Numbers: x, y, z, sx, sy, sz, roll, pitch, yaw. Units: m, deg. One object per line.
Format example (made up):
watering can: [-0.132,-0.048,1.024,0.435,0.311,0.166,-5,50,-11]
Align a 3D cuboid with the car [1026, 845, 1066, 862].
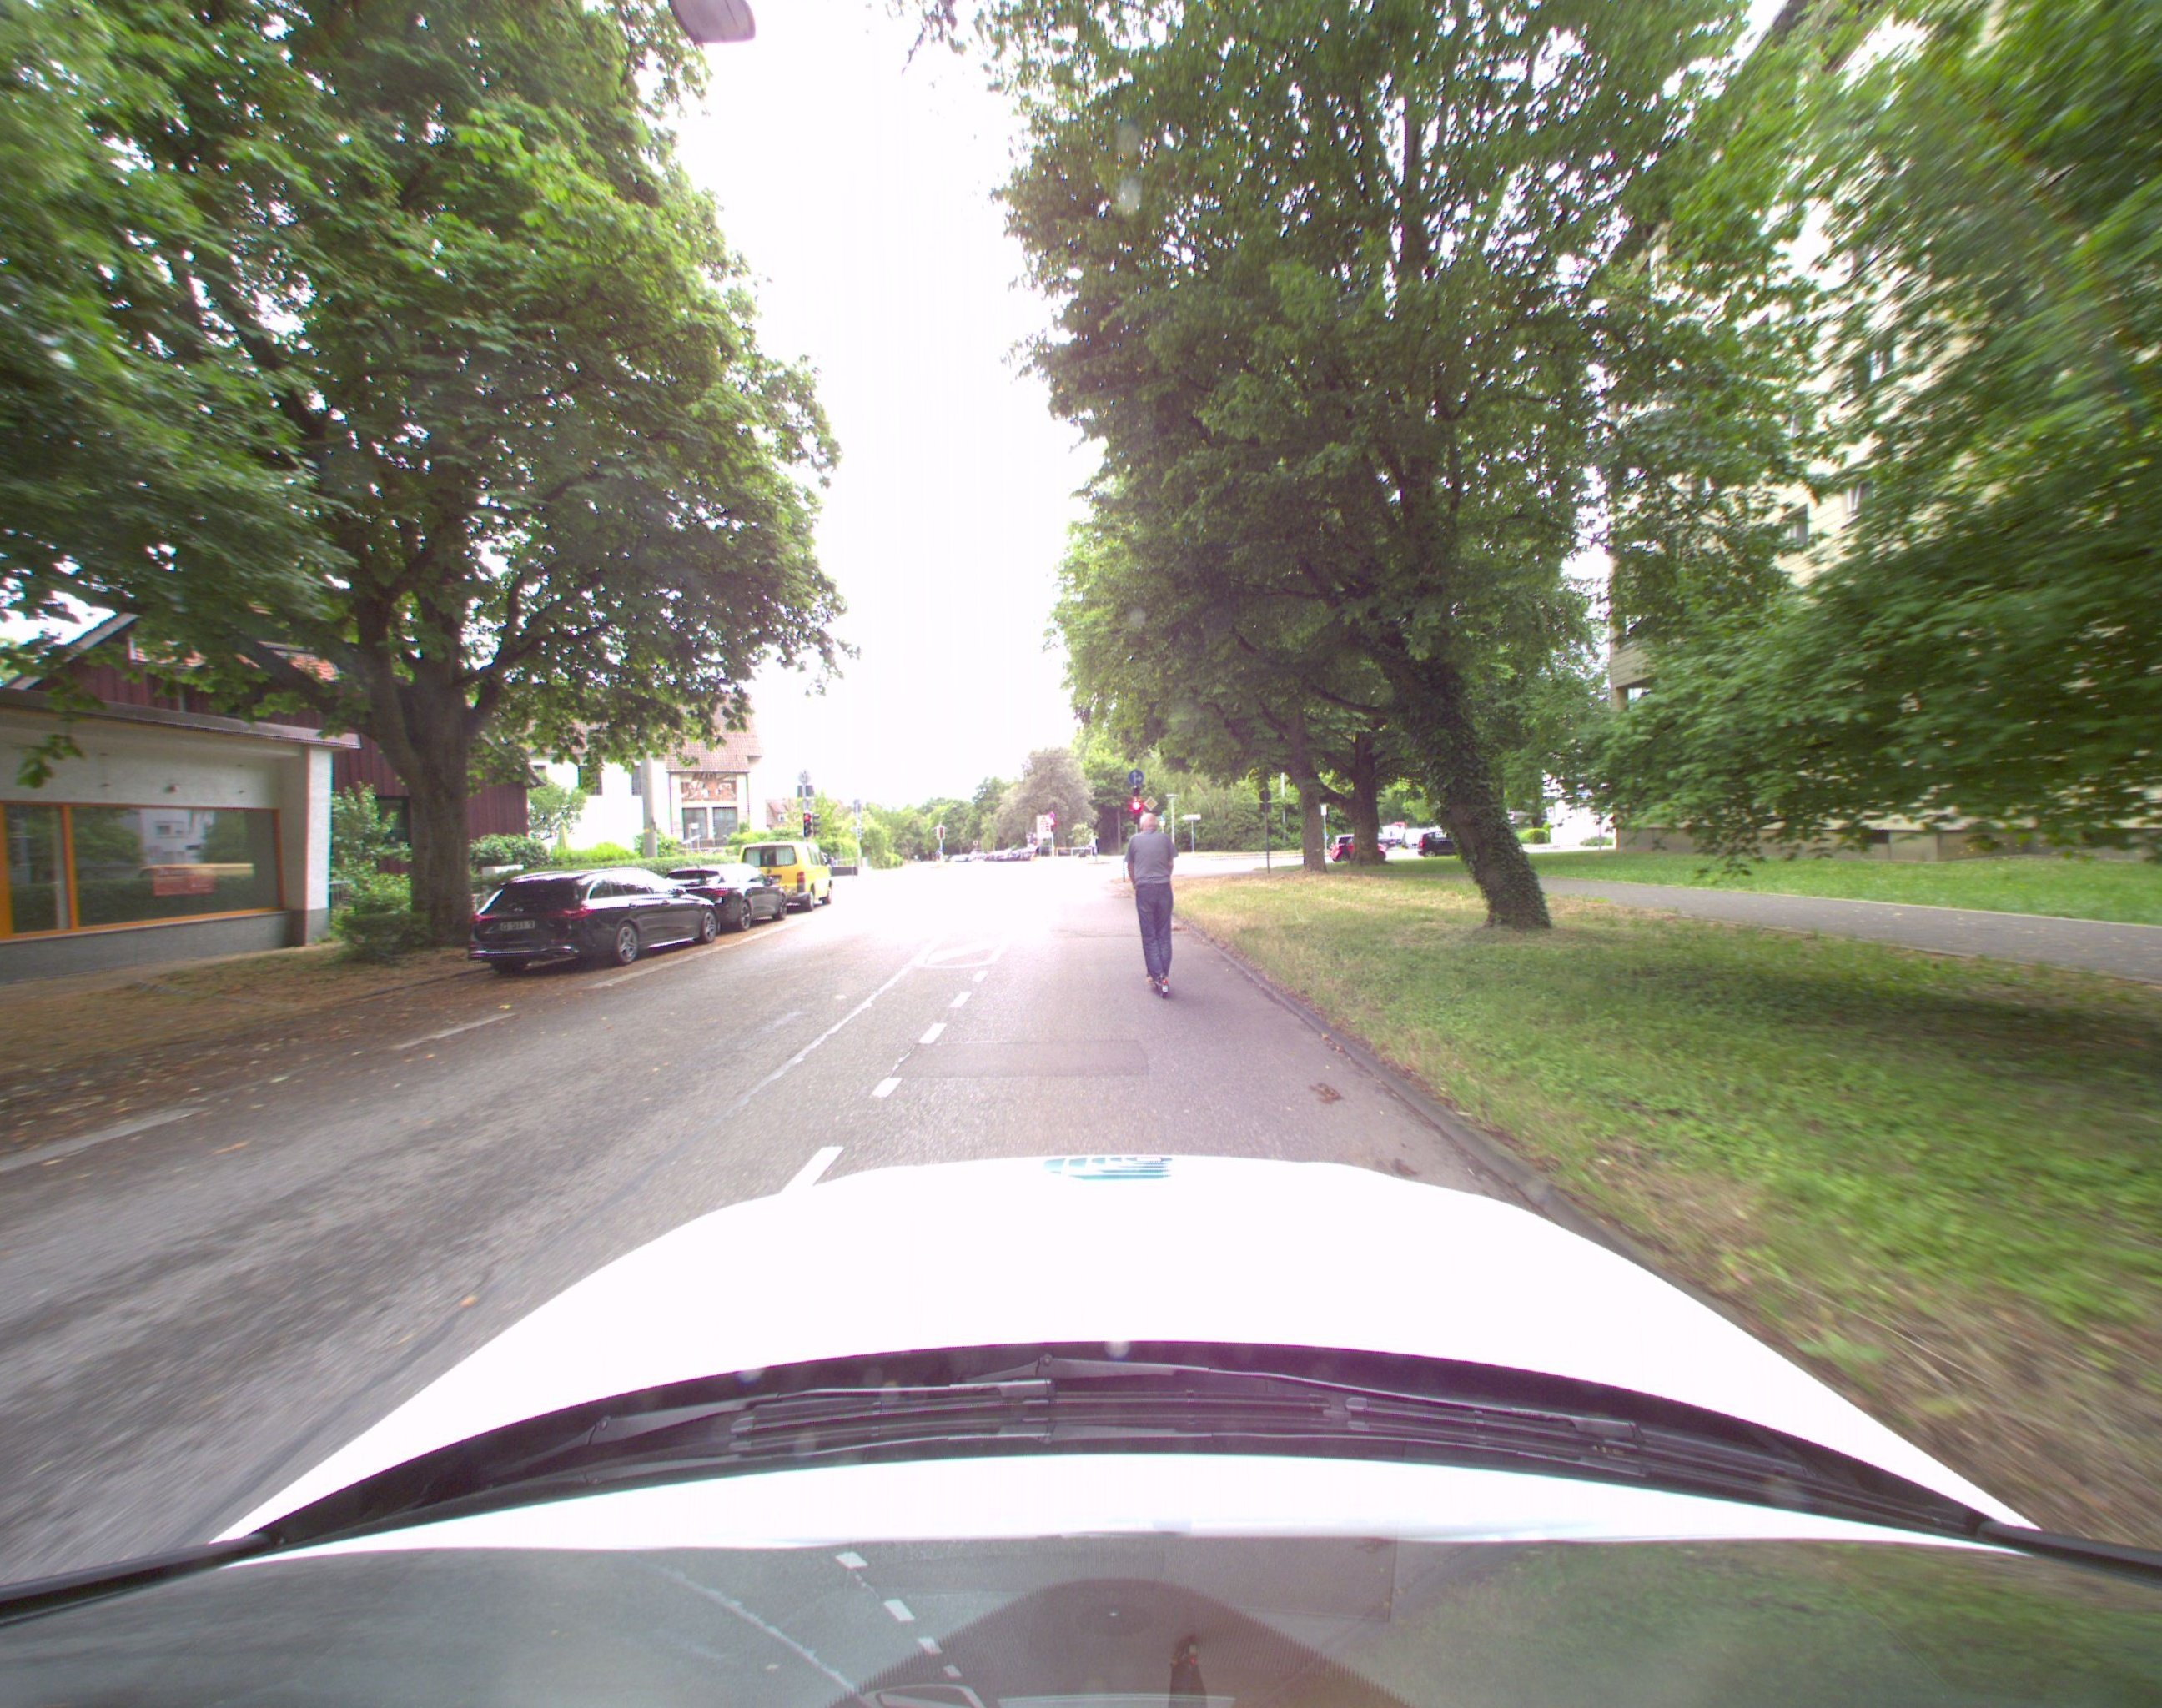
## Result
car: [-3.574,-0.024,83.834,3.981,1.510,1.797,-3,1,-6]

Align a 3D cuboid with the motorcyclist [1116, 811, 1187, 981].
motorcyclist: [0.746,0.433,8.790,0.671,1.761,0.638,-1,0,-2]

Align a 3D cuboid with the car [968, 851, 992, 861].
car: [-17.491,0.286,141.053,3.981,1.510,1.797,-3,1,-6]

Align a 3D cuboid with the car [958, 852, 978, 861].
car: [-23.772,0.509,171.166,3.981,1.510,1.797,-3,1,-6]

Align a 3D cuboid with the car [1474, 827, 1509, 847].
car: [33.623,-1.385,66.807,2.065,1.510,4.021,-3,0,20]

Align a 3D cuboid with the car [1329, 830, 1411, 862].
car: [15.603,-0.448,44.135,3.963,1.557,1.806,-1,4,9]

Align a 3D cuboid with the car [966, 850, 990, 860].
car: [-17.466,0.213,138.267,3.981,1.510,1.797,-3,1,-6]

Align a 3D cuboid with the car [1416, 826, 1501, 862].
car: [19.784,-0.540,42.861,3.952,1.726,1.810,0,4,22]

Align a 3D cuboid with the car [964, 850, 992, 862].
car: [-15.392,0.301,121.423,3.981,1.510,1.797,-3,1,-6]

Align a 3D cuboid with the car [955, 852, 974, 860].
car: [-25.177,0.516,175.911,3.981,1.510,1.797,-3,1,-6]

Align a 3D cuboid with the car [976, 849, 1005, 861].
car: [-12.907,0.116,116.140,3.981,1.510,1.797,-3,1,-6]

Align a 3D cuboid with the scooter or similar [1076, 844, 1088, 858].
scooter or similar: [0.065,-0.221,61.614,0.704,1.049,0.791,-3,0,16]

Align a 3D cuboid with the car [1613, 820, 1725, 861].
car: [27.172,-0.611,37.685,1.811,1.741,3.951,-4,3,-45]

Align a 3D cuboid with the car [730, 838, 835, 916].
car: [-8.572,0.606,23.799,1.856,1.963,4.492,-3,0,-8]

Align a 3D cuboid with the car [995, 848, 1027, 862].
car: [-9.028,0.129,104.630,3.981,1.510,1.797,-3,1,-6]

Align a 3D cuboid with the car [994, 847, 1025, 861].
car: [-9.351,-0.002,106.535,3.981,1.510,1.797,-3,1,-6]

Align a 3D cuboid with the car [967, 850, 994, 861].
car: [-15.717,0.189,127.349,3.981,1.510,1.797,-3,1,-6]

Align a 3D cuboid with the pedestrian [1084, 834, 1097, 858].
pedestrian: [0.722,-0.599,61.270,0.726,1.761,0.665,-3,0,16]

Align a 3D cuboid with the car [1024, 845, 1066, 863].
car: [-3.545,-0.007,80.255,3.981,1.510,1.797,-3,1,-6]

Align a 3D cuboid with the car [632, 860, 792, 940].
car: [-8.023,0.927,18.182,1.790,1.415,4.184,-3,1,-4]

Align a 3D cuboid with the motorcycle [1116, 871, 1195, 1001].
motorcycle: [0.757,0.811,8.588,0.671,1.217,1.273,-1,0,-1]

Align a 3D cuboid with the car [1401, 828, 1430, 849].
car: [26.331,-1.264,64.041,1.777,1.510,4.024,-3,0,26]

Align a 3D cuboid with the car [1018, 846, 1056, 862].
car: [-4.718,-0.027,87.329,3.981,1.510,1.797,-3,1,-6]

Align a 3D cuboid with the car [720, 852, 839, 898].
car: [-11.754,0.782,31.963,3.985,1.510,1.795,-2,2,-9]

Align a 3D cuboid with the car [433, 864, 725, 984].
car: [-7.611,0.948,13.020,1.887,1.410,4.550,-3,0,-2]

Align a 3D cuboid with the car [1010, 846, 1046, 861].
car: [-6.120,-0.014,94.109,3.981,1.510,1.797,-3,1,-6]
